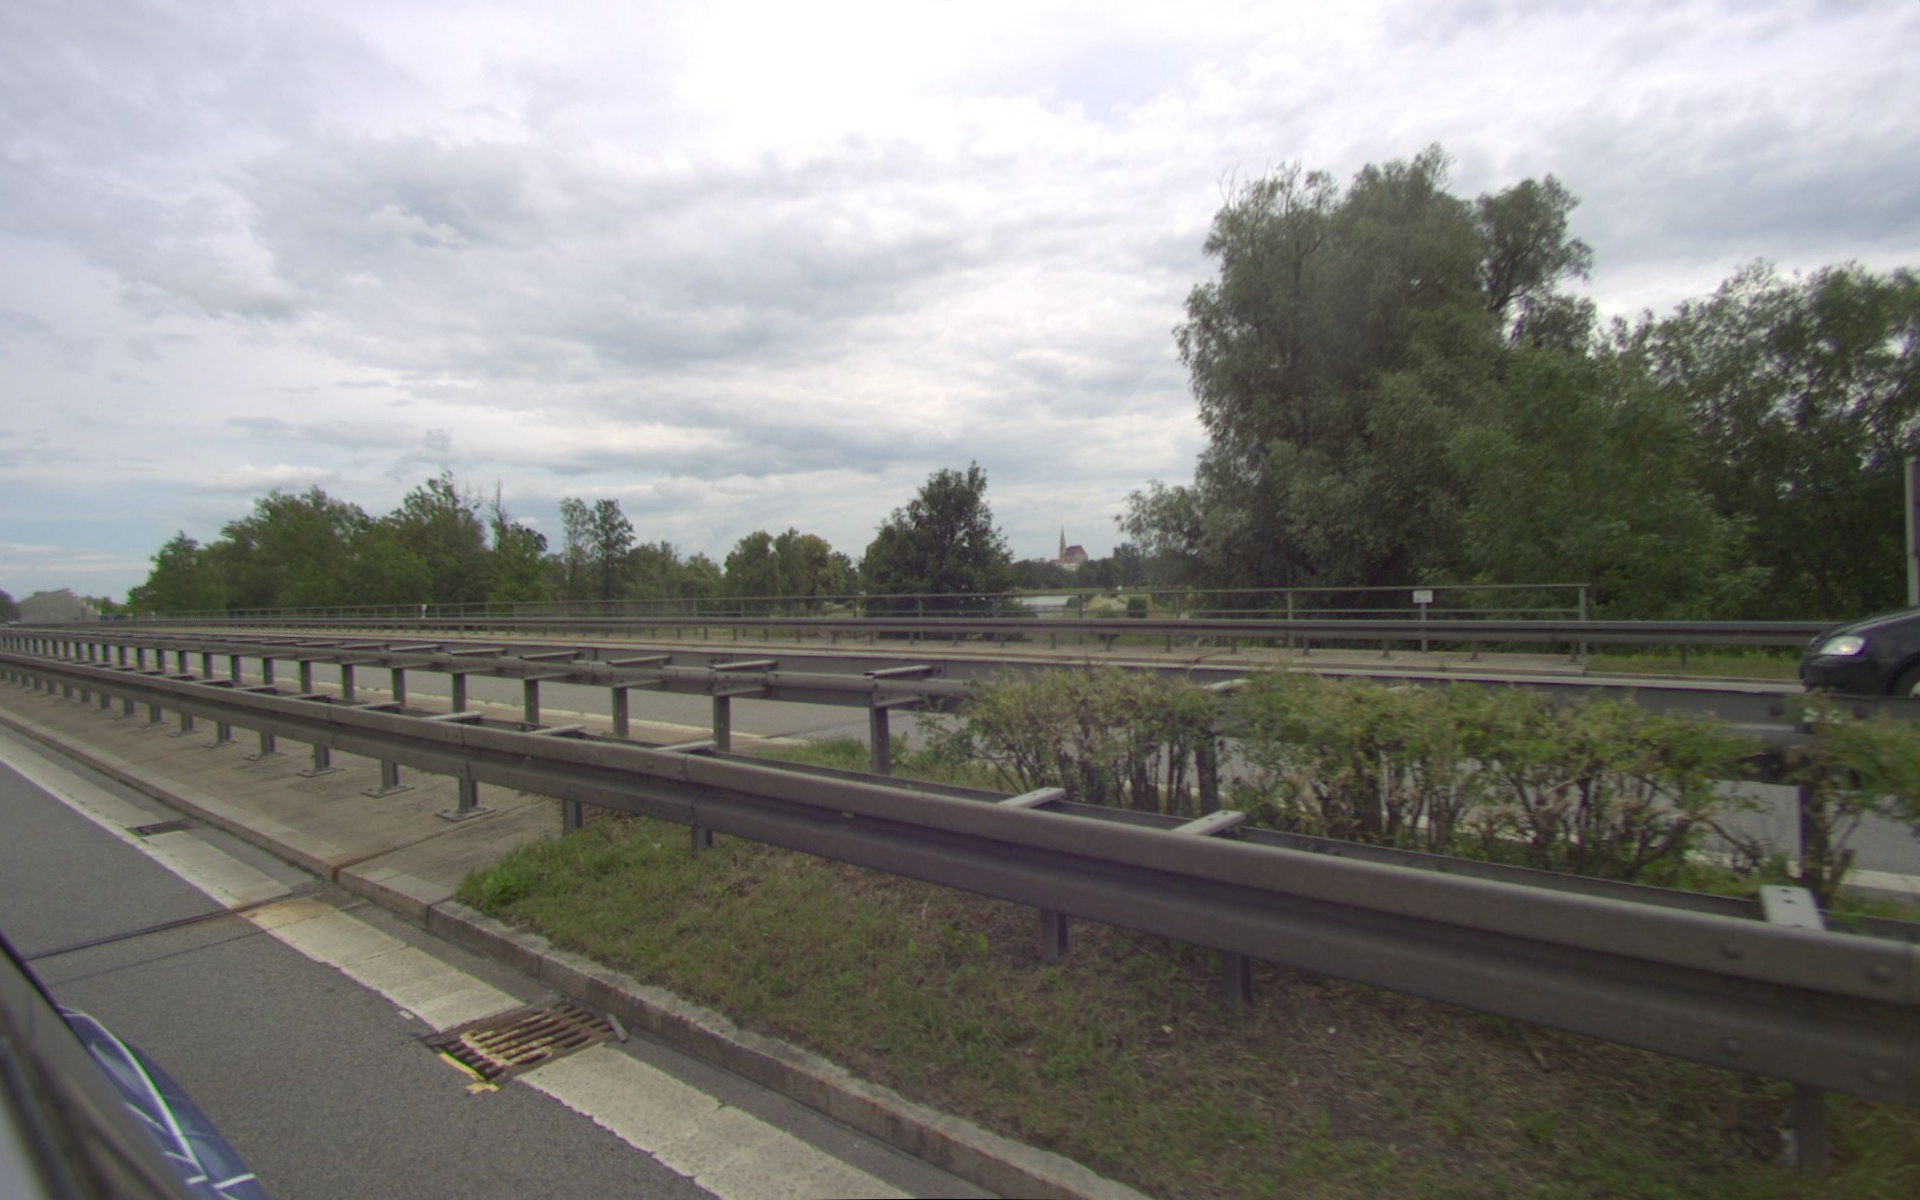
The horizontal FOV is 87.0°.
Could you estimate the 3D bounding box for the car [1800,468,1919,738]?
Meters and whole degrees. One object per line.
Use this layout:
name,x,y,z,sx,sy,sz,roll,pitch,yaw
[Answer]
car,9.137,-0.022,7.229,4.738,2.017,1.974,-1,1,39
